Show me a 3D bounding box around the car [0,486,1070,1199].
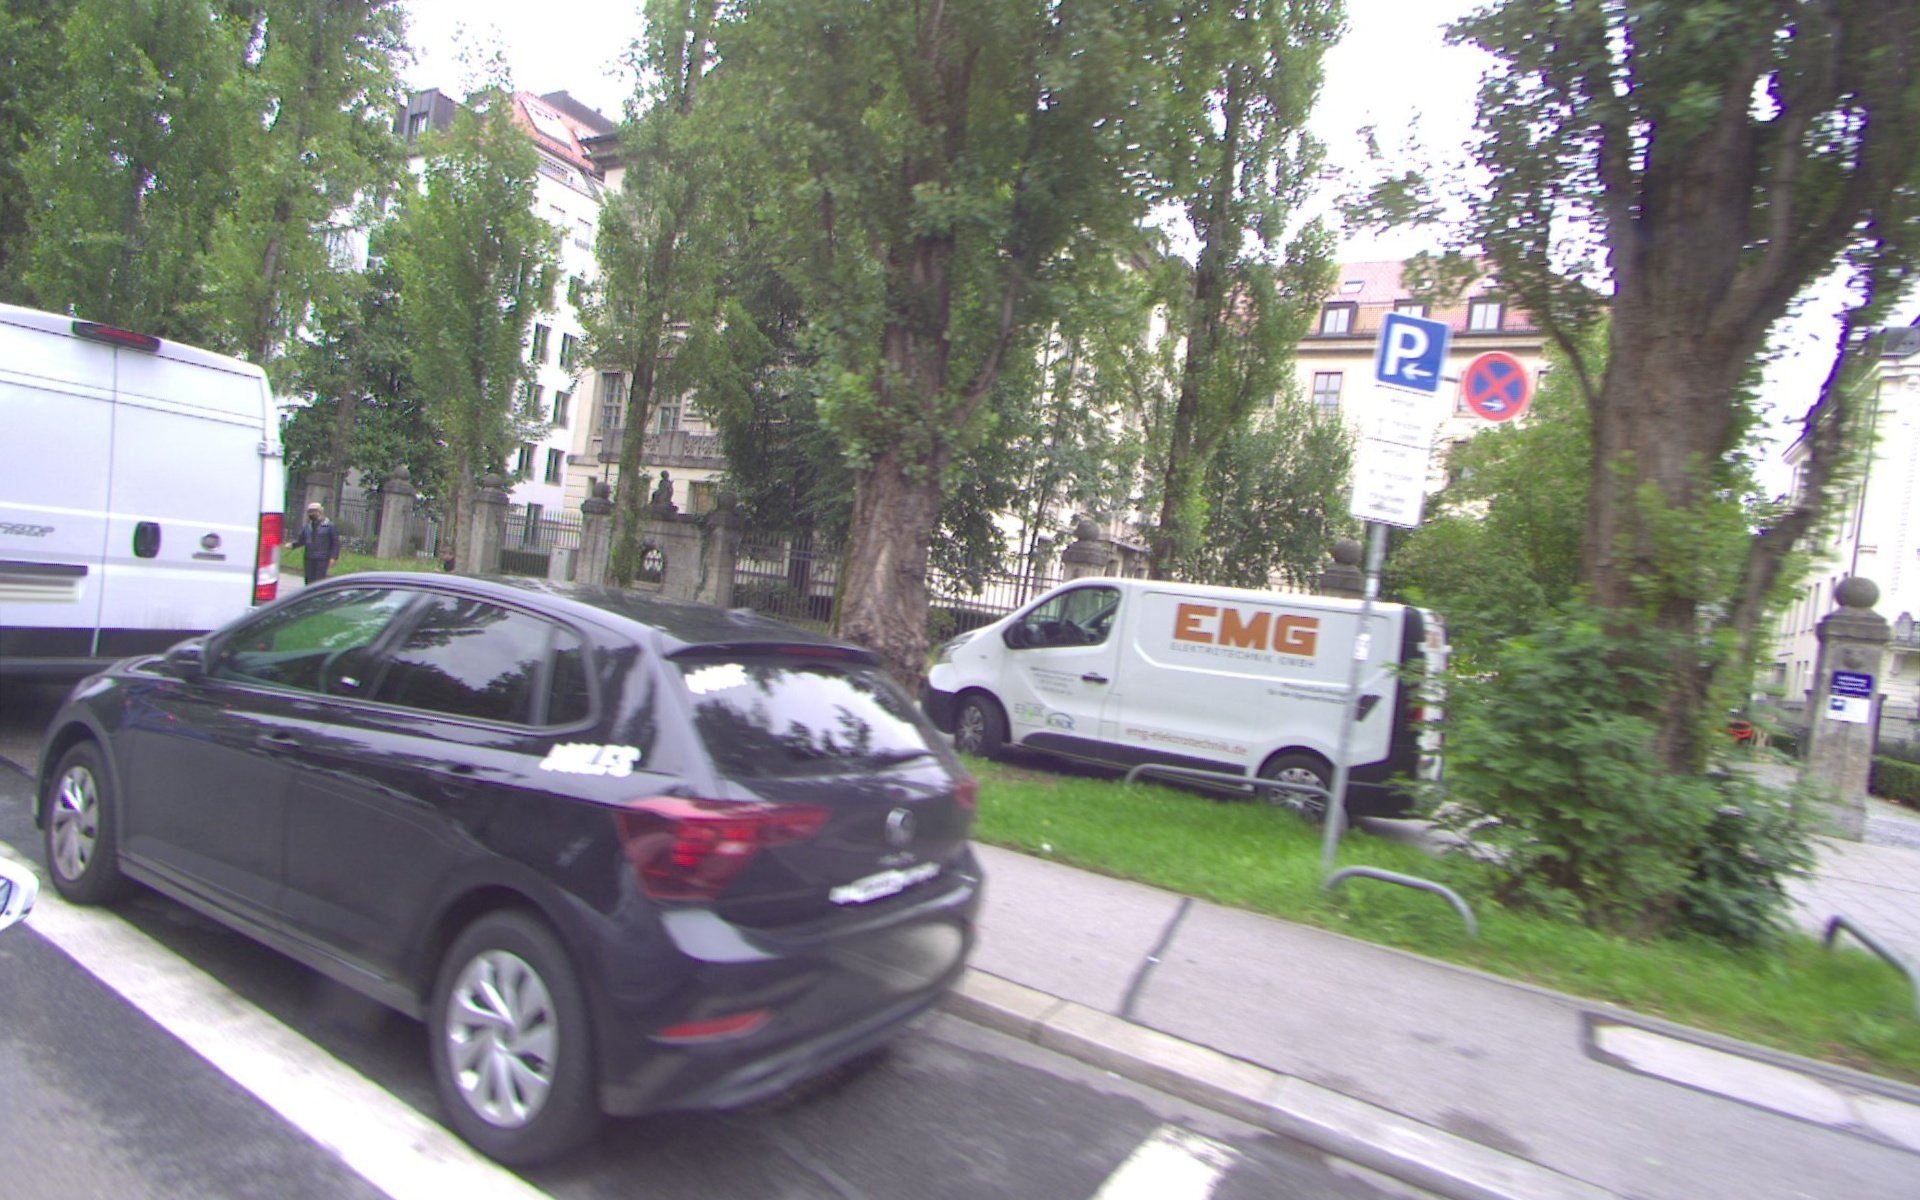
[{"bbox_3d":[-1.813,0.584,3.888,3.932,1.466,1.759,8,-2,31],"label":"car"}]

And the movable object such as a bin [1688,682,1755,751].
[{"bbox_3d":[27.407,4.153,36.284,1.410,2.167,3.672,8,0,33],"label":"movable object such as a bin"}]

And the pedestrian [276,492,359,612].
[{"bbox_3d":[-10.704,-0.788,16.783,0.771,1.862,0.656,8,1,17],"label":"pedestrian"}]

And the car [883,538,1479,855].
[{"bbox_3d":[1.966,0.710,9.592,4.998,1.970,1.996,7,0,32],"label":"car"}]

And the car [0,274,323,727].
[{"bbox_3d":[-7.731,-0.832,7.656,6.177,2.508,2.078,8,-1,31],"label":"car"}]
